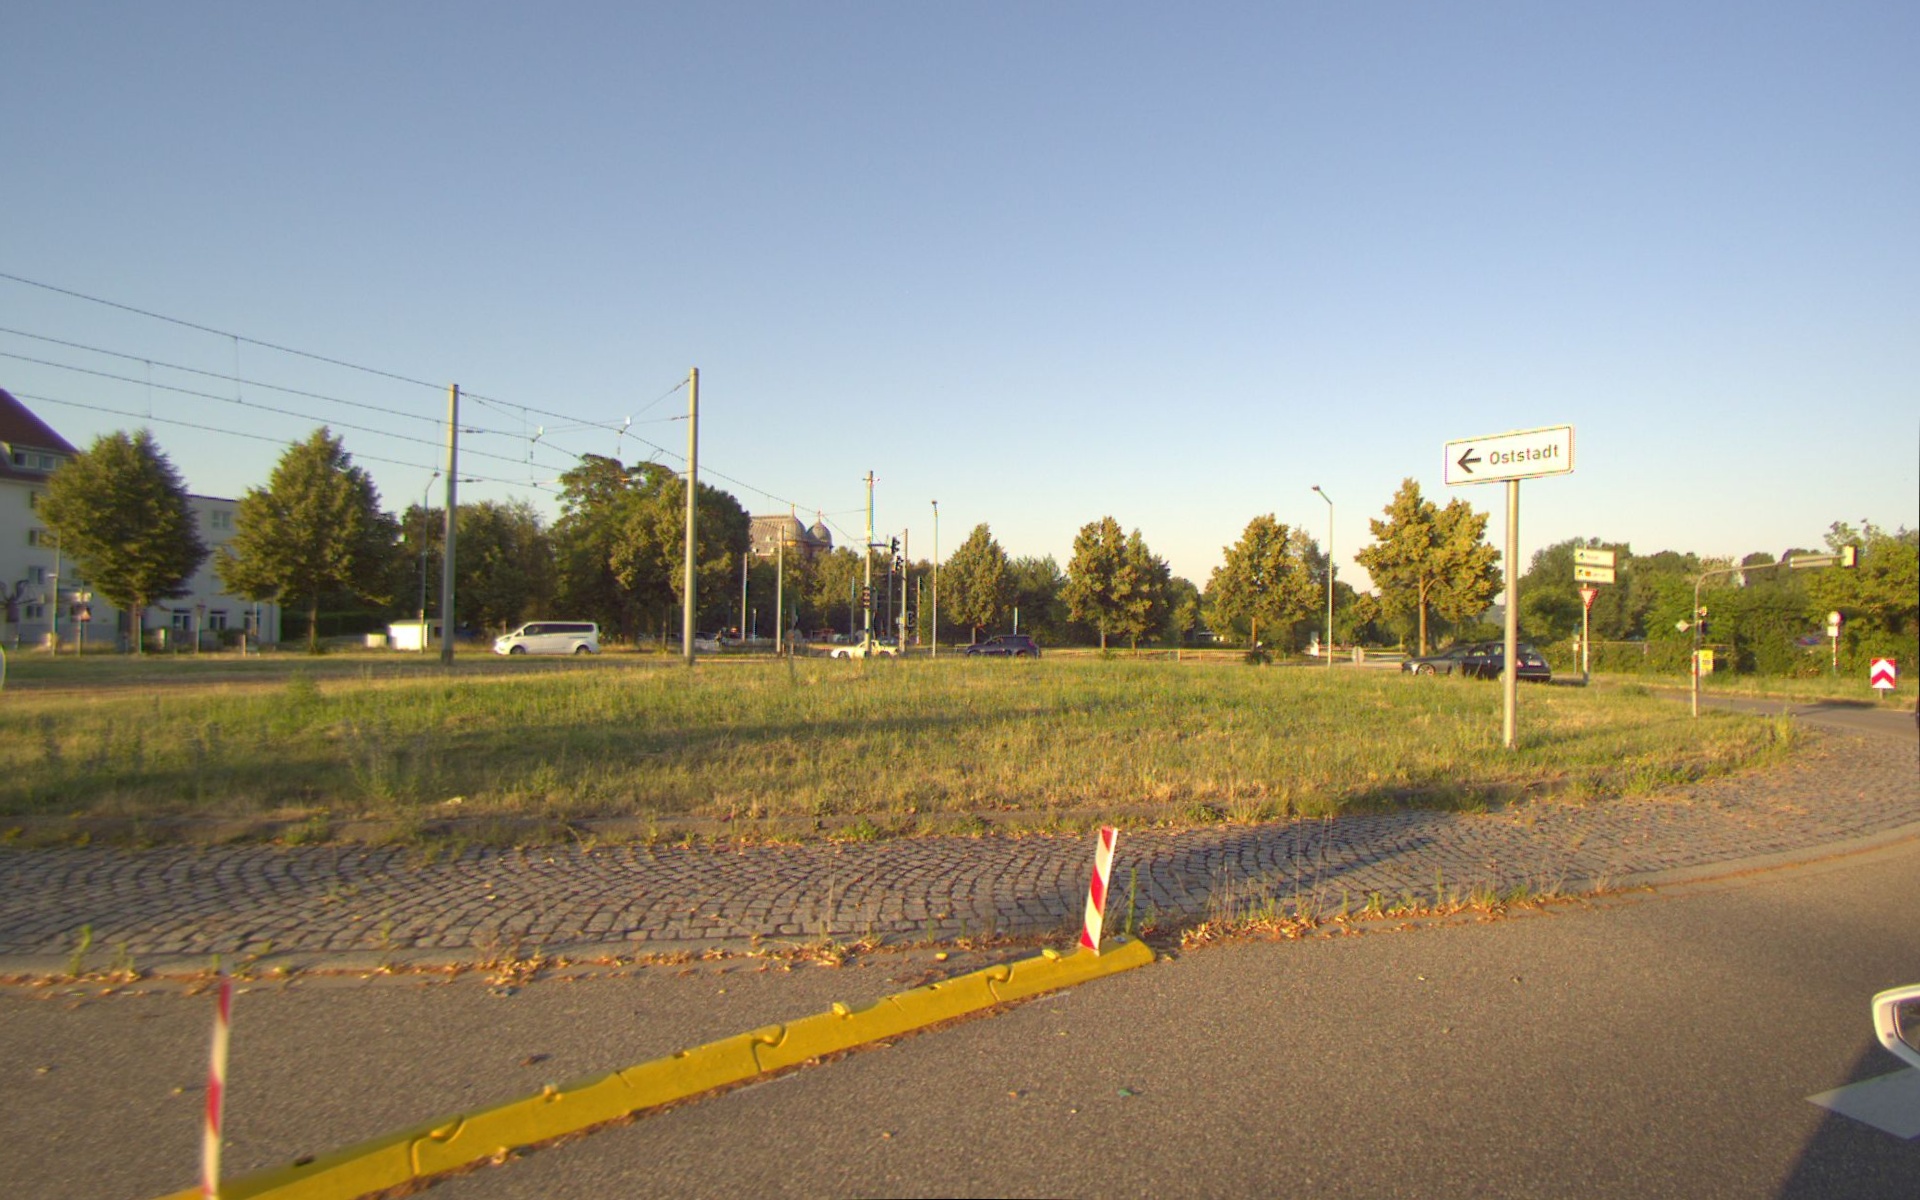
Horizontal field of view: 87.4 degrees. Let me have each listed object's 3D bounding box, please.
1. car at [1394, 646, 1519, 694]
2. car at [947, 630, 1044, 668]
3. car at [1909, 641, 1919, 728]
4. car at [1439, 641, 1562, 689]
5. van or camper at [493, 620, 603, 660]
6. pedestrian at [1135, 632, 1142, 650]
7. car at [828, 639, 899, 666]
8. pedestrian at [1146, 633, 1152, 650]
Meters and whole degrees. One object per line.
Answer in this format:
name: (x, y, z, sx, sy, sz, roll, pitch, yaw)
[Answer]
car: (20.475, 2.861, 41.632, 4.507, 1.771, 1.751, 0, -1, 21)
car: (1.787, 2.402, 49.939, 4.505, 1.771, 1.752, 0, -1, 17)
car: (16.561, 1.412, 15.591, 1.720, 1.486, 4.127, 0, -2, 30)
car: (18.553, 2.192, 34.690, 1.719, 1.465, 4.131, 1, -1, -6)
van or camper: (-22.199, 2.128, 54.206, 5.242, 2.036, 1.899, 1, -1, -32)
pedestrian: (17.091, 3.932, 96.140, 0.569, 1.648, 0.533, 1, -2, 9)
car: (-5.269, 2.872, 55.089, 3.705, 1.272, 1.580, 2, -1, 2)
pedestrian: (18.132, 3.999, 96.390, 0.608, 1.648, 0.531, 1, -2, 8)
